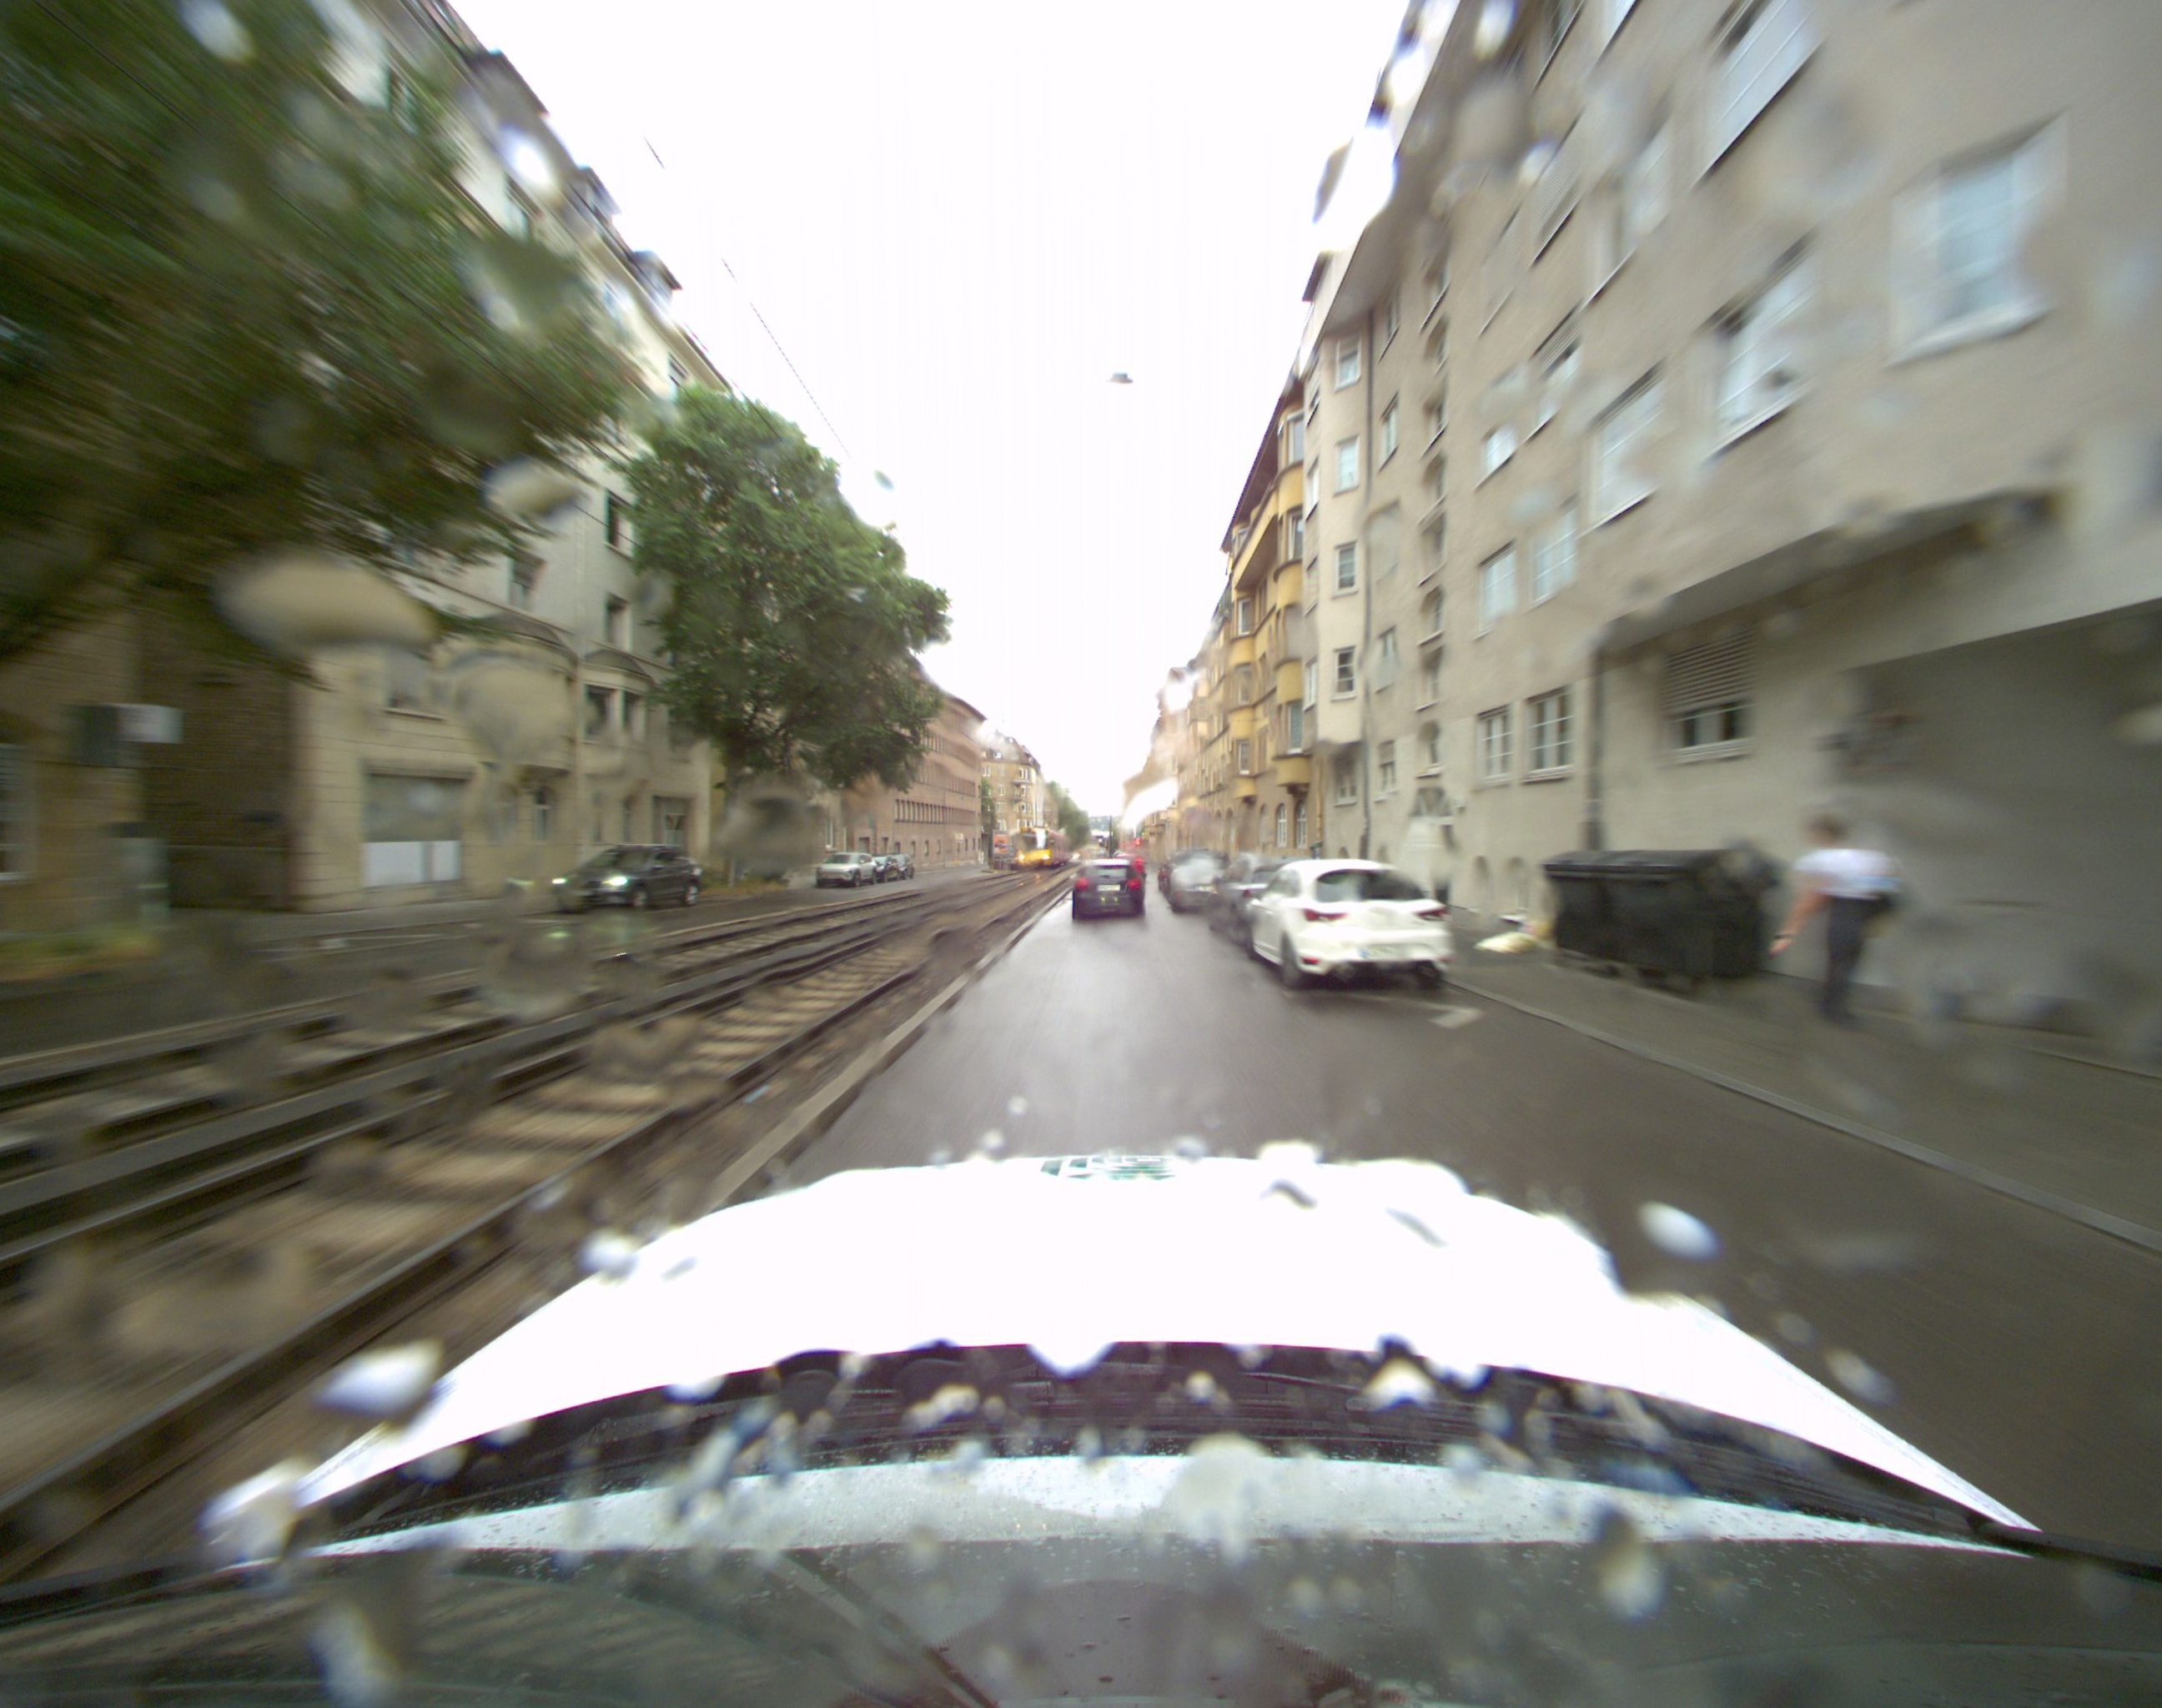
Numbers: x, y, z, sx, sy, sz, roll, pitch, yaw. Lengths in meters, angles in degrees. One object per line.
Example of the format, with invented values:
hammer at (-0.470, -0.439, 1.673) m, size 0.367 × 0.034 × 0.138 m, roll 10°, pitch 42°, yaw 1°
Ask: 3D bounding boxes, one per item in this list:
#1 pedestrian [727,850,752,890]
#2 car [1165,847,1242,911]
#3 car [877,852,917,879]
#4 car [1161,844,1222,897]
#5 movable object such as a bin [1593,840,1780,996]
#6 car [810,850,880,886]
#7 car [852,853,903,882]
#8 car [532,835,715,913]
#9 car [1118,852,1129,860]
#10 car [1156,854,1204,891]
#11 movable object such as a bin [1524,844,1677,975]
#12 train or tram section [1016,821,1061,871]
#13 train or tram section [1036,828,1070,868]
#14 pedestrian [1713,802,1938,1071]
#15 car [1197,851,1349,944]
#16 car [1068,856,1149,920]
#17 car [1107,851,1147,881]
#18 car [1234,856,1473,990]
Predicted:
pedestrian at (-14.500, 0.679, 34.618) m, size 0.725 × 1.663 × 0.771 m, roll 0°, pitch 0°, yaw 1°
car at (3.391, 0.669, 23.259) m, size 1.833 × 1.608 × 4.766 m, roll -1°, pitch -1°, yaw 4°
car at (-10.663, 0.644, 47.428) m, size 1.566 × 1.466 × 3.045 m, roll 1°, pitch 0°, yaw 1°
car at (3.888, 0.583, 29.310) m, size 1.771 × 1.750 × 4.552 m, roll -1°, pitch -1°, yaw 3°
movable object such as a bin at (6.135, 0.618, 8.357) m, size 0.976 × 1.468 × 1.273 m, roll 0°, pitch -1°, yaw 2°
car at (-11.084, 0.627, 38.610) m, size 1.954 × 1.605 × 4.330 m, roll 1°, pitch 0°, yaw 1°
car at (-10.854, 0.687, 43.666) m, size 1.660 × 1.415 × 3.689 m, roll 1°, pitch 0°, yaw 2°
car at (-11.720, 0.450, 21.344) m, size 1.946 × 1.742 × 4.779 m, roll 3°, pitch 0°, yaw 1°
car at (9.008, 0.462, 172.893) m, size 2.126 × 1.525 × 4.248 m, roll 1°, pitch 0°, yaw 2°
car at (4.079, 0.757, 33.925) m, size 1.586 × 1.440 × 3.309 m, roll 1°, pitch -1°, yaw 0°
movable object such as a bin at (6.217, 0.636, 9.853) m, size 1.014 × 1.468 × 1.323 m, roll 0°, pitch -1°, yaw 2°
train or tram section at (-3.657, -0.672, 74.837) m, size 2.735 × 4.061 × 17.219 m, roll -1°, pitch 0°, yaw 2°
train or tram section at (-2.986, -0.620, 91.109) m, size 2.735 × 4.061 × 15.666 m, roll -1°, pitch 0°, yaw 2°
pedestrian at (4.991, 0.524, 5.520) m, size 0.801 × 1.687 × 0.754 m, roll 0°, pitch -1°, yaw 1°
car at (3.418, 0.729, 15.328) m, size 1.826 × 1.468 × 4.374 m, roll 0°, pitch -1°, yaw 0°
car at (0.709, 0.775, 20.373) m, size 1.827 × 1.453 × 3.904 m, roll 0°, pitch 0°, yaw 2°
car at (2.449, 0.623, 43.855) m, size 1.986 × 1.525 × 4.248 m, roll 1°, pitch 0°, yaw 2°
car at (3.239, 0.745, 10.658) m, size 1.782 × 1.385 × 4.397 m, roll -1°, pitch -1°, yaw 2°
